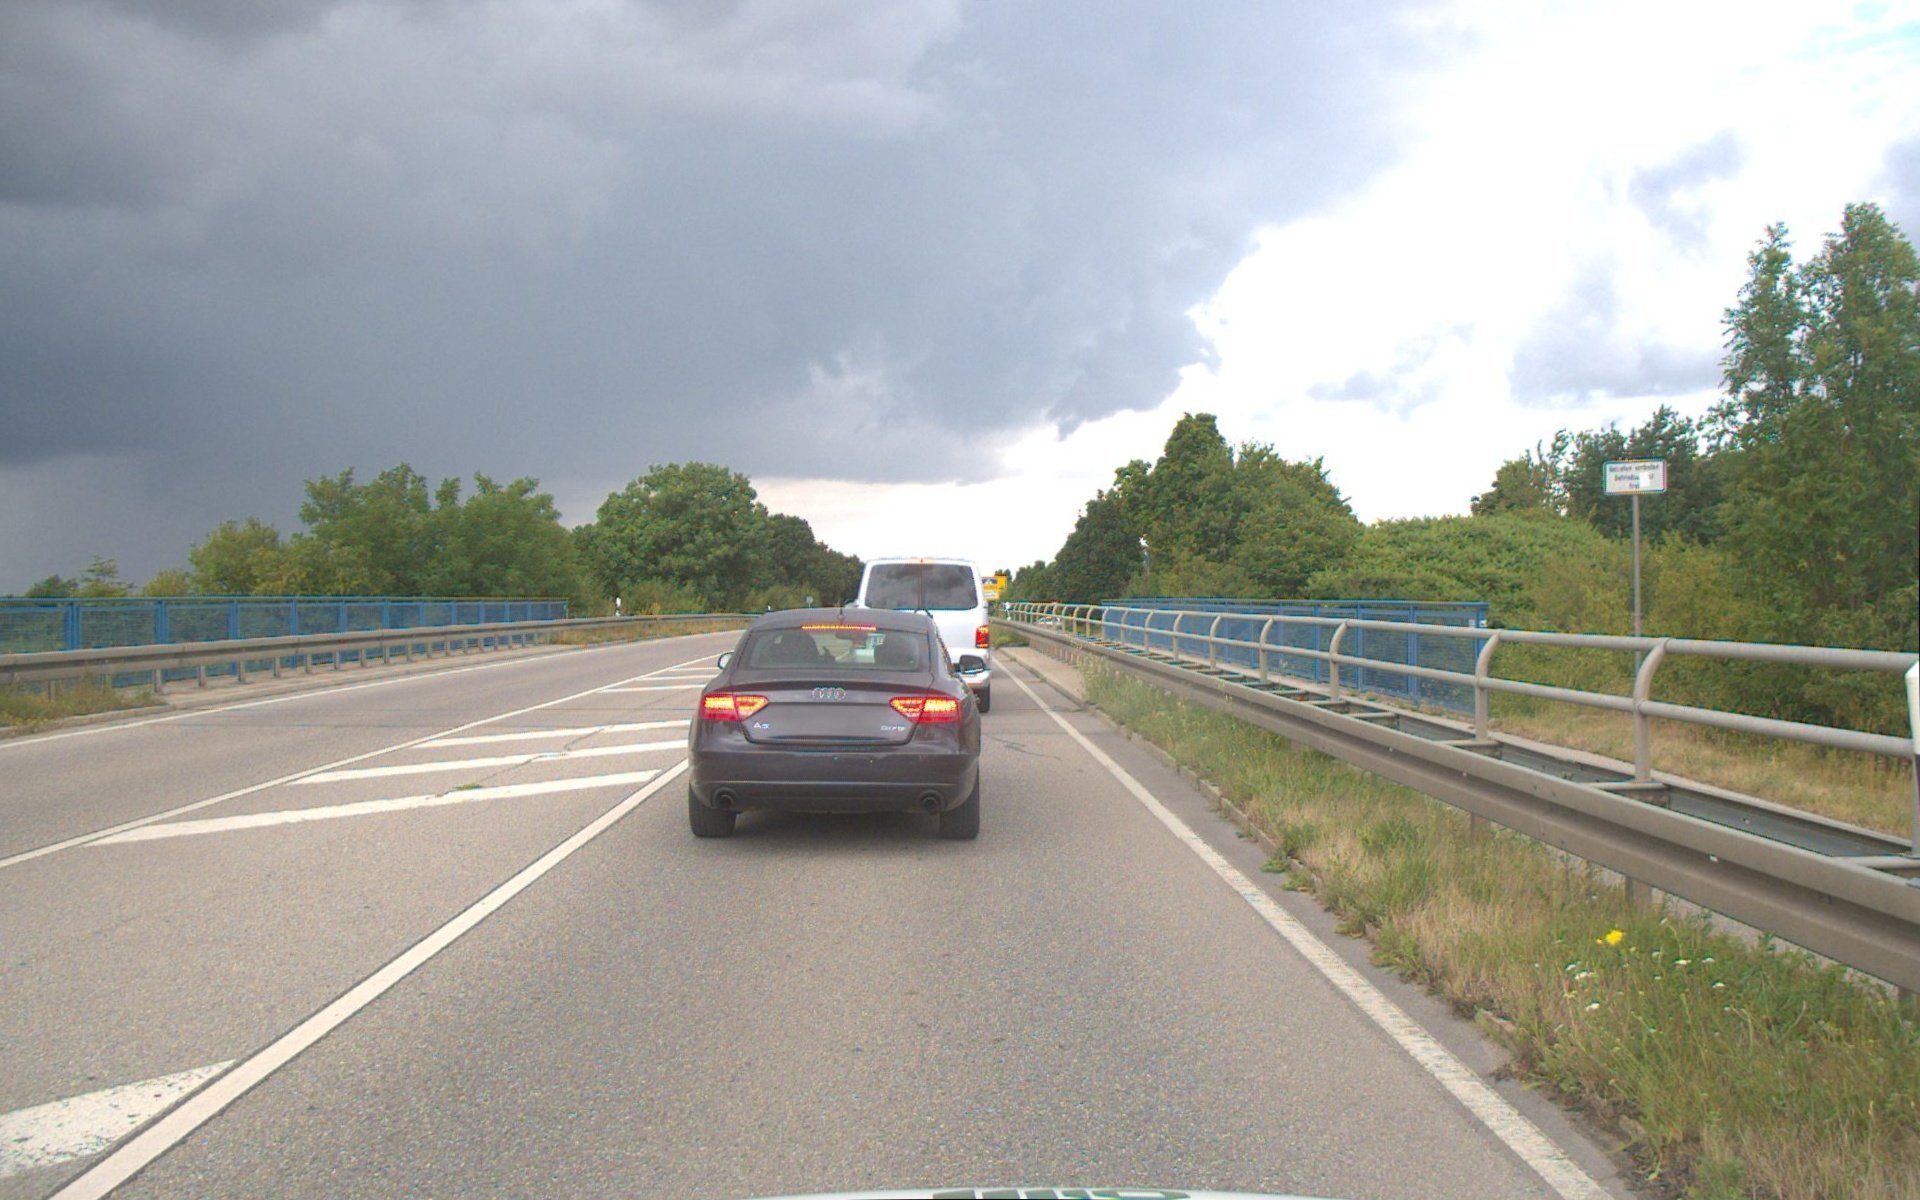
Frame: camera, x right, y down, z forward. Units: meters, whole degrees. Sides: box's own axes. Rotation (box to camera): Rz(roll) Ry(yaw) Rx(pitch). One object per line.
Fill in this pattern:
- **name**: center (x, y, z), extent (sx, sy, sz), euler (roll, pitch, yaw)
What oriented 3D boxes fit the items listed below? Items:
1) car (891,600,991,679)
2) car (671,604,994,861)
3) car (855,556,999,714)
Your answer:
- **car**: center (-0.337, 0.710, 31.670), extent (1.784, 1.405, 4.071), euler (0, 0, 0)
- **car**: center (-0.712, 0.742, 11.233), extent (1.784, 1.405, 4.071), euler (1, 0, 0)
- **car**: center (-0.450, 0.440, 22.616), extent (1.791, 1.969, 3.999), euler (0, 0, -1)
